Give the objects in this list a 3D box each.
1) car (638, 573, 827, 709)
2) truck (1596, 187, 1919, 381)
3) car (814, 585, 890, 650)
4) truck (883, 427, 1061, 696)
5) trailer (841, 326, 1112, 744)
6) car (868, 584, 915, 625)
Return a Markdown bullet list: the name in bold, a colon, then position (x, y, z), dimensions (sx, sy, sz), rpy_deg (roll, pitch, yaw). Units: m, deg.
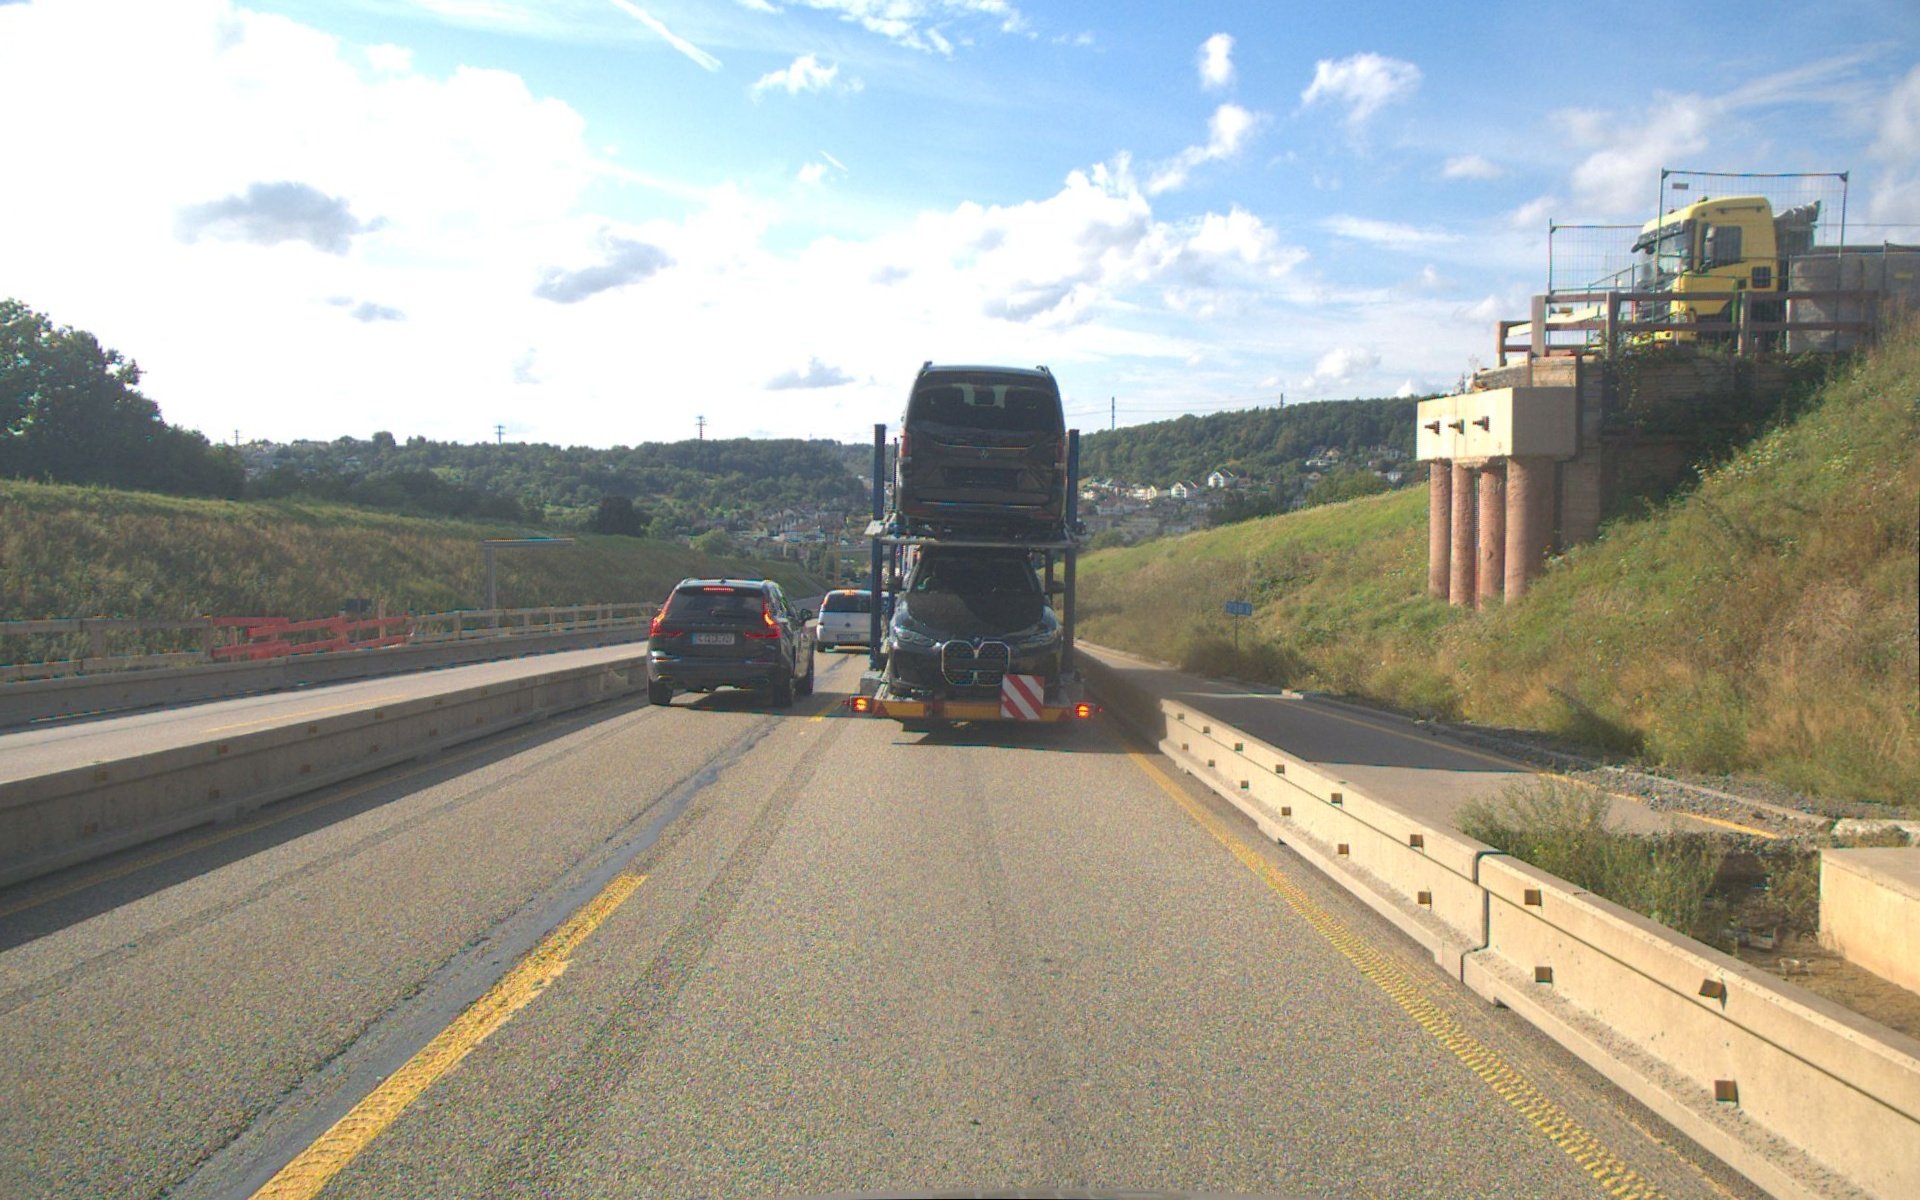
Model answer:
- **car**: position (-3.023, 0.497, 22.980), dimensions (1.953, 1.653, 4.750), rpy_deg (1, 0, 0)
- **truck**: position (17.868, -6.247, 33.233), dimensions (9.076, 3.284, 2.959), rpy_deg (0, 0, -2)
- **car**: position (-2.801, 0.430, 43.727), dimensions (1.760, 1.624, 4.742), rpy_deg (0, 0, -1)
- **truck**: position (0.202, -0.580, 27.657), dimensions (2.623, 3.990, 6.027), rpy_deg (0, 0, 0)
- **trailer**: position (0.187, -0.656, 21.965), dimensions (2.652, 4.099, 11.419), rpy_deg (0, 0, 0)
- **car**: position (-2.677, 0.169, 65.104), dimensions (1.760, 1.557, 4.293), rpy_deg (0, 0, -2)
